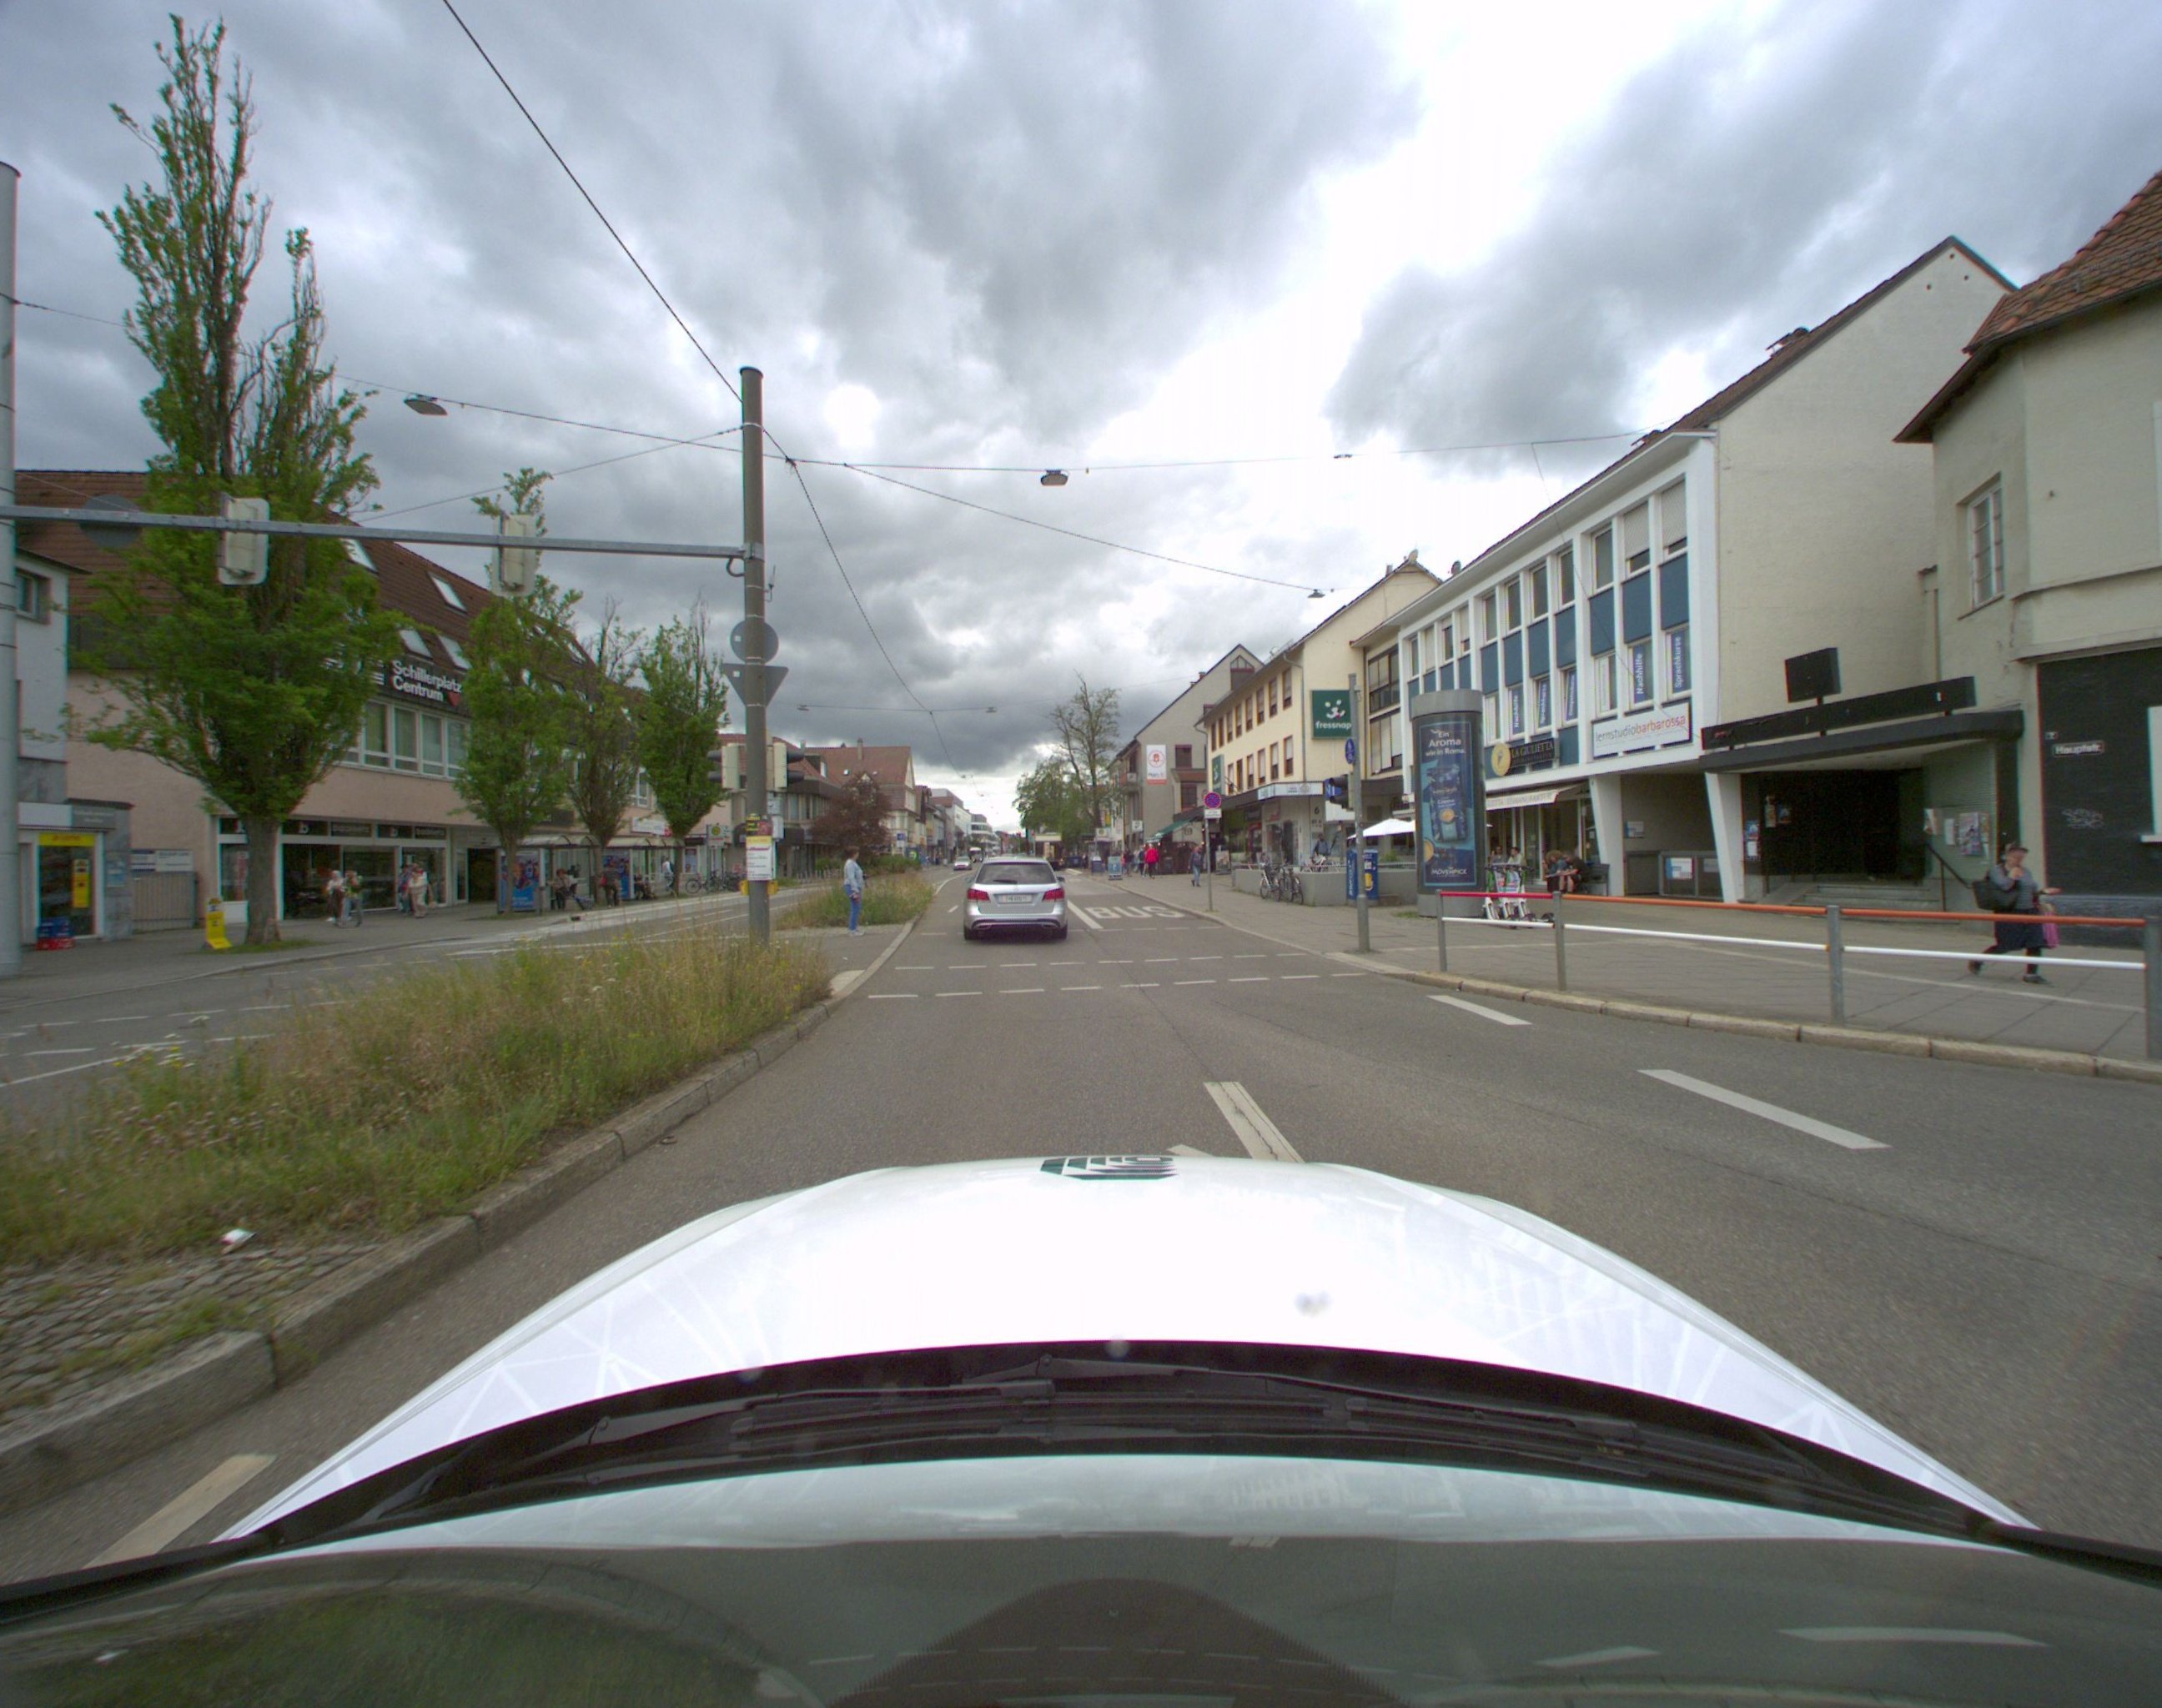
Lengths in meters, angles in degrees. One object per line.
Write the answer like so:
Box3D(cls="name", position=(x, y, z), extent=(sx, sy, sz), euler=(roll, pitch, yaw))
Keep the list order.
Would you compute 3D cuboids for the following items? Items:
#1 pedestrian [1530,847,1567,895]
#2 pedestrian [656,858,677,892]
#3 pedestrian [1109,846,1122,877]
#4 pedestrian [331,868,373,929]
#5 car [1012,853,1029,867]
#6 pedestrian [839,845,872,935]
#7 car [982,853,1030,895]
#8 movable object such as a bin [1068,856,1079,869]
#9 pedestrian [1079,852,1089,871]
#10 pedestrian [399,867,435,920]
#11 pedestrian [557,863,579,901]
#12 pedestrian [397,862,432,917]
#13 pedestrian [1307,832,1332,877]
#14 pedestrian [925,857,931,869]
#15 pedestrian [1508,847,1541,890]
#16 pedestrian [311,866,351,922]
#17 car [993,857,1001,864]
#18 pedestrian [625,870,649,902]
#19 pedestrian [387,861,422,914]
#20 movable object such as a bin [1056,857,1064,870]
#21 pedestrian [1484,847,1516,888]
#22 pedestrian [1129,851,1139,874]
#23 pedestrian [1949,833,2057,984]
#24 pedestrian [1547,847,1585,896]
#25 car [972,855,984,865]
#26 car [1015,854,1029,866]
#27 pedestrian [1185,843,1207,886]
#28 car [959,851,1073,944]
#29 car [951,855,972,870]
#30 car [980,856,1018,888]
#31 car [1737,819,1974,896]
Box3D(cls="pedestrian", position=(12.465, 0.447, 21.725), extent=(0.612, 1.220, 0.586), euler=(-2, 0, -7))
Box3D(cls="pedestrian", position=(-21.898, 1.106, 43.061), extent=(0.725, 1.764, 0.754), euler=(2, 0, -7))
Box3D(cls="pedestrian", position=(1.872, 0.399, 43.776), extent=(0.610, 1.678, 0.614), euler=(2, 0, -2))
Box3D(cls="pedestrian", position=(-20.101, 1.216, 22.466), extent=(0.585, 1.634, 0.613), euler=(2, 0, -7))
Box3D(cls="car", position=(-7.533, 0.761, 101.654), extent=(1.990, 1.684, 3.994), euler=(-1, 0, -4))
Box3D(cls="pedestrian", position=(-4.198, 0.656, 15.174), extent=(0.503, 1.634, 0.661), euler=(-1, 0, -11))
Box3D(cls="car", position=(-2.946, 0.783, 32.506), extent=(1.751, 1.521, 3.994), euler=(-2, 0, -4))
Box3D(cls="movable object such as a bin", position=(-0.815, 0.944, 86.264), extent=(1.141, 1.339, 1.374), euler=(-1, 0, -3))
Box3D(cls="pedestrian", position=(0.259, 0.619, 68.772), extent=(0.538, 1.634, 0.582), euler=(2, 0, -29))
Box3D(cls="pedestrian", position=(-20.795, 1.225, 25.530), extent=(0.585, 1.634, 0.613), euler=(2, 0, -7))
Box3D(cls="pedestrian", position=(-22.600, 1.228, 35.882), extent=(0.585, 1.634, 0.613), euler=(2, 0, -7))
Box3D(cls="pedestrian", position=(-21.568, 1.139, 26.359), extent=(0.585, 1.712, 0.613), euler=(2, 0, -7))
Box3D(cls="pedestrian", position=(8.917, 0.016, 30.457), extent=(0.665, 1.634, 0.799), euler=(-1, 0, -4))
Box3D(cls="pedestrian", position=(-20.594, 1.206, 109.581), extent=(0.817, 1.634, 0.977), euler=(1, 0, -10))
Box3D(cls="pedestrian", position=(13.033, 0.418, 23.942), extent=(0.612, 1.220, 0.586), euler=(-1, 0, -7))
Box3D(cls="pedestrian", position=(-22.176, 1.174, 24.096), extent=(0.585, 1.634, 0.613), euler=(2, 0, -7))
Box3D(cls="car", position=(-18.688, 1.482, 181.266), extent=(1.568, 1.540, 2.953), euler=(1, 0, -7))
Box3D(cls="pedestrian", position=(-19.289, 1.378, 35.409), extent=(0.710, 1.364, 0.587), euler=(0, 0, -3))
Box3D(cls="pedestrian", position=(-22.442, 1.116, 27.018), extent=(0.585, 1.712, 0.613), euler=(2, 0, -7))
Box3D(cls="movable object such as a bin", position=(-2.244, 0.991, 86.351), extent=(0.879, 1.339, 1.084), euler=(-1, 0, -3))
Box3D(cls="pedestrian", position=(12.653, 0.400, 24.614), extent=(0.612, 1.220, 0.586), euler=(2, 0, -7))
Box3D(cls="pedestrian", position=(3.727, 0.593, 57.043), extent=(0.585, 1.634, 0.614), euler=(-1, 0, -3))
Box3D(cls="pedestrian", position=(10.421, 0.587, 9.216), extent=(0.590, 1.622, 0.736), euler=(2, 0, -36))
Box3D(cls="pedestrian", position=(12.562, 0.446, 21.103), extent=(0.612, 1.220, 0.586), euler=(2, 0, -7))
Box3D(cls="car", position=(-20.992, 1.203, 166.020), extent=(2.064, 1.738, 4.689), euler=(-3, 0, -2))
Box3D(cls="car", position=(-8.558, 0.883, 118.150), extent=(1.990, 1.684, 3.994), euler=(-1, 0, -4))
Box3D(cls="pedestrian", position=(4.457, 0.416, 31.656), extent=(0.686, 1.634, 0.853), euler=(-1, 0, -2))
Box3D(cls="car", position=(-1.282, 0.728, 15.488), extent=(1.872, 1.506, 3.991), euler=(-1, 0, -6))
Box3D(cls="car", position=(-12.812, 0.919, 87.706), extent=(1.871, 1.506, 4.337), euler=(-3, 0, -4))
Box3D(cls="car", position=(-4.701, 1.004, 47.217), extent=(1.990, 1.684, 3.994), euler=(-1, 0, -4))
Box3D(cls="car", position=(17.953, 0.068, 18.996), extent=(3.954, 1.666, 1.734), euler=(-1, 0, -1))
